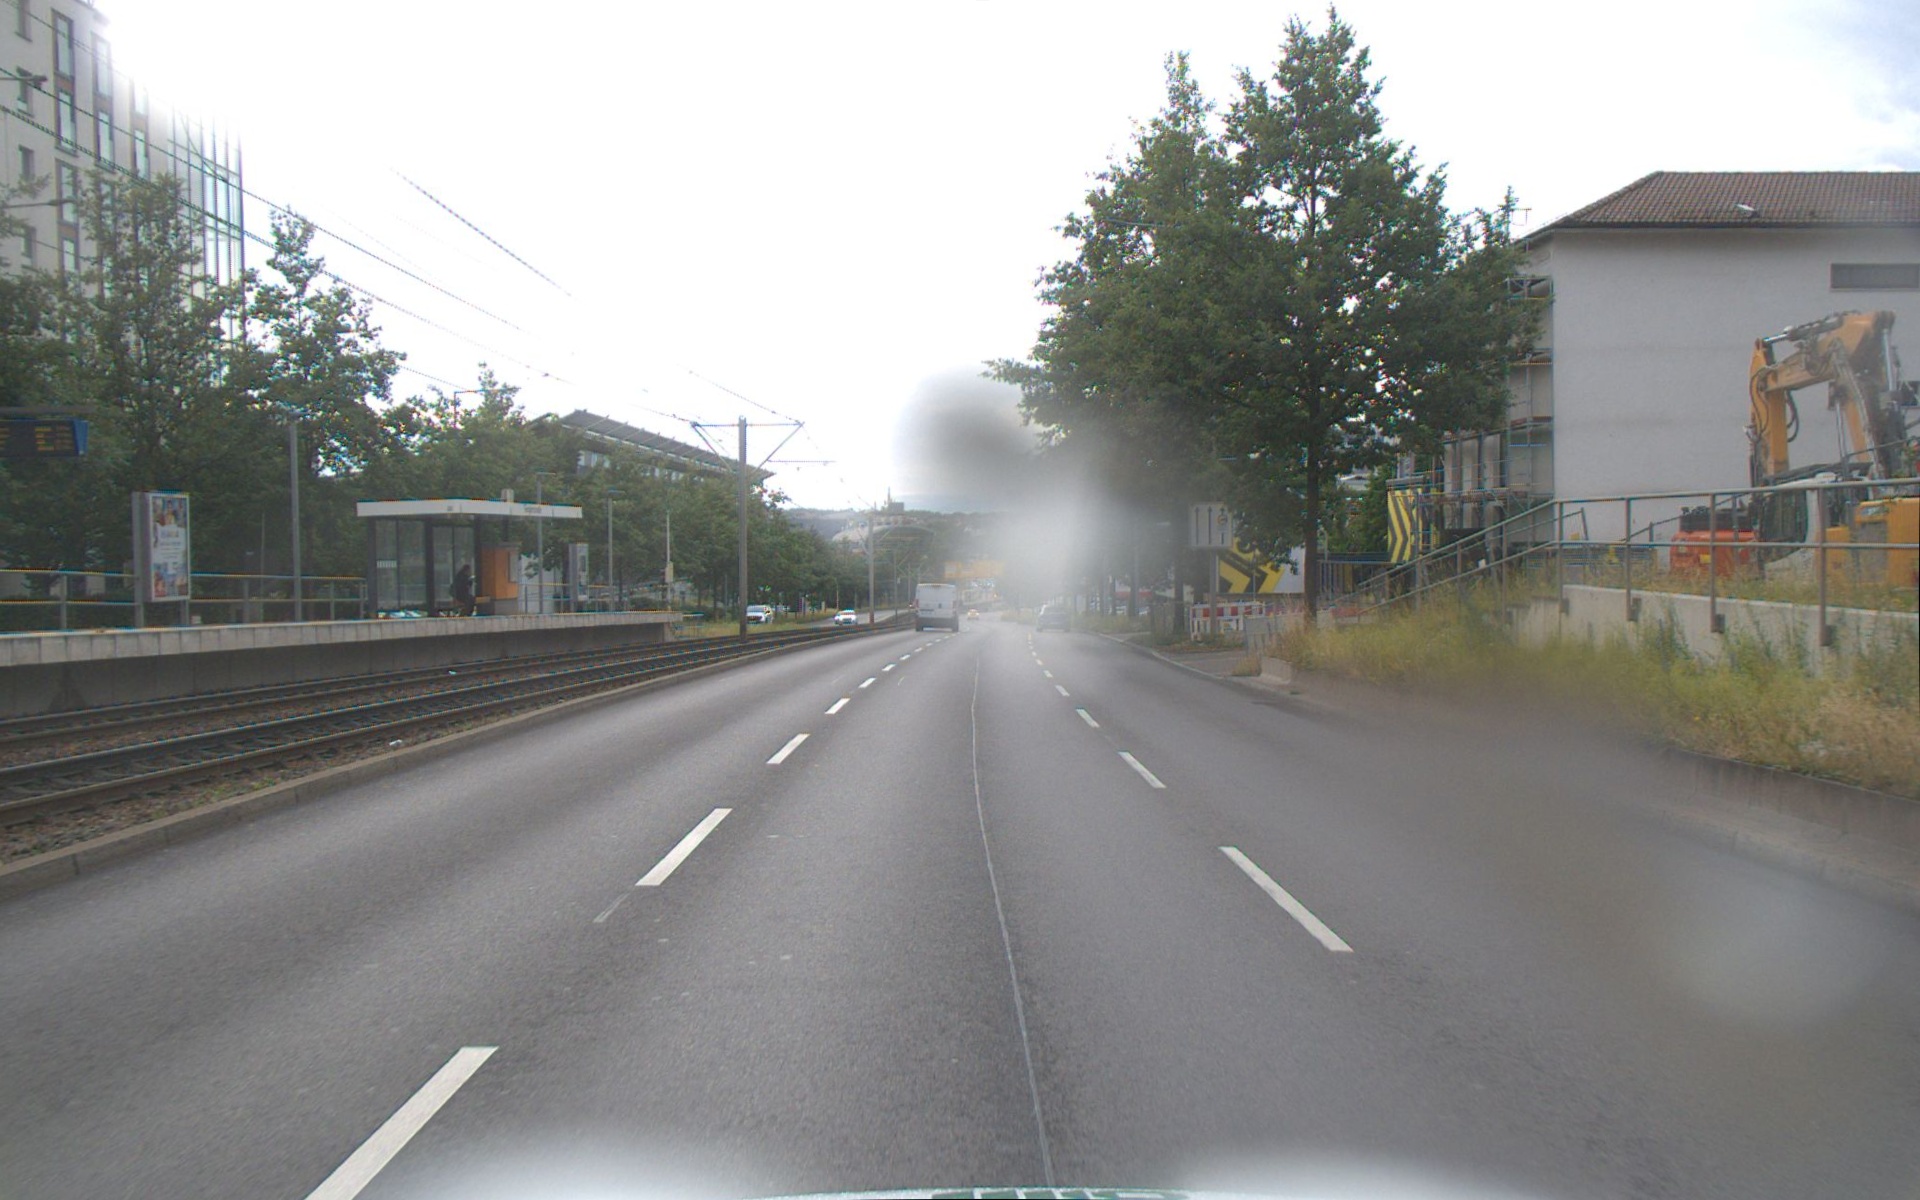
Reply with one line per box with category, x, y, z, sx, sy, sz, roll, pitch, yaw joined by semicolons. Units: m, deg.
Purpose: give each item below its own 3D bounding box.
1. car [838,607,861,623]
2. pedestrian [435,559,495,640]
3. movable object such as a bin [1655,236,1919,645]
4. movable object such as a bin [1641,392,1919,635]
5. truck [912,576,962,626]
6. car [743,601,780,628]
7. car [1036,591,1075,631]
car;-11.155;1.506;166.823;1.799;1.469;4.429;-2;0;2
pedestrian;-12.949;-0.007;43.292;1.103;2.049;1.270;1;-1;1
movable object such as a bin;15.035;-2.190;27.718;3.222;5.784;8.765;1;-1;1
movable object such as a bin;22.804;-1.983;38.997;11.895;5.353;3.788;-1;-1;-1
truck;-1.106;0.078;81.168;2.312;2.301;5.305;1;-1;0
car;-14.690;1.072;122.486;1.952;1.879;5.002;-2;0;1
car;5.104;0.598;89.041;1.952;2.049;3.935;1;-1;2
